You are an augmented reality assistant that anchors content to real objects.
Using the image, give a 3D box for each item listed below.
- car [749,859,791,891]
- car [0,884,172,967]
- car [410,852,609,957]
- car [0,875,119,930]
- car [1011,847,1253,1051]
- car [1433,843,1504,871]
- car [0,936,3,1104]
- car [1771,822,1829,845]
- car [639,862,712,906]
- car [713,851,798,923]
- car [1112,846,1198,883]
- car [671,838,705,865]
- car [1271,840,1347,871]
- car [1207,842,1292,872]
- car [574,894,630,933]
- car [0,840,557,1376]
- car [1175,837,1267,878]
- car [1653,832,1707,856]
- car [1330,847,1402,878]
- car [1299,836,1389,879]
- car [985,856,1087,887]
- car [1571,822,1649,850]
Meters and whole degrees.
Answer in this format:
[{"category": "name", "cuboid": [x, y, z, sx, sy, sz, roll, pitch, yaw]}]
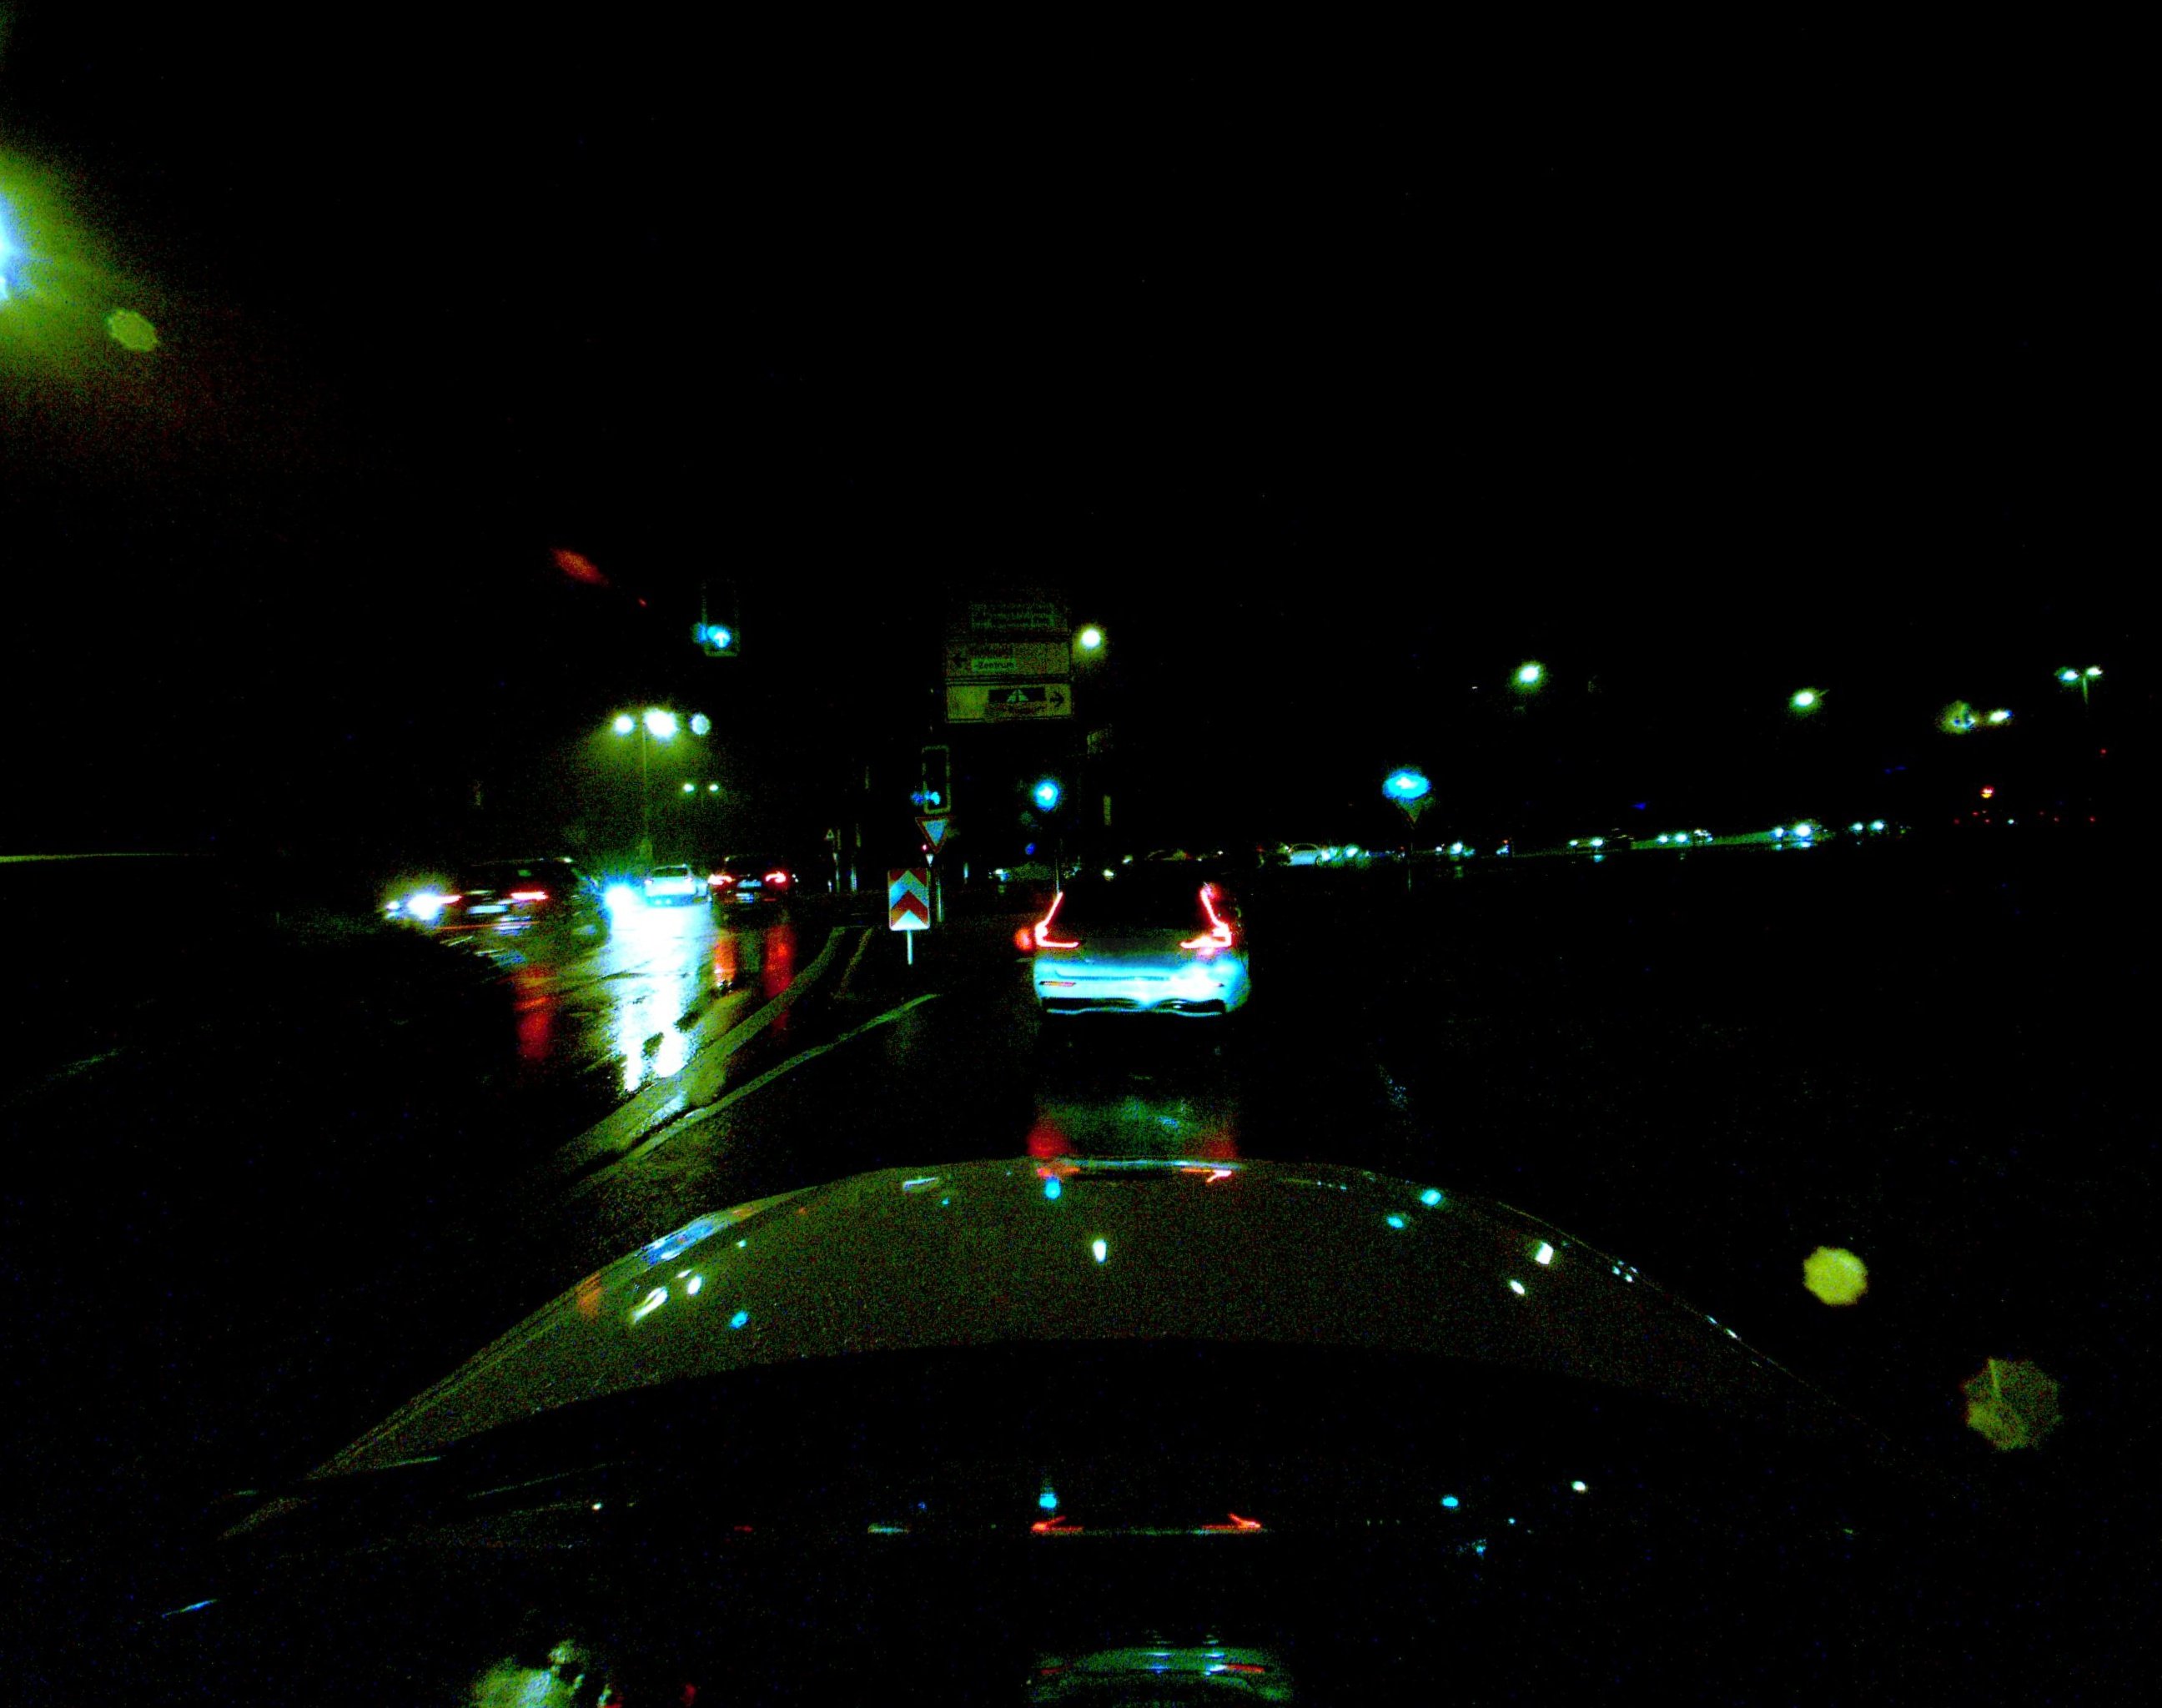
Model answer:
[{"category": "car", "cuboid": [-15.724, 1.046, 41.343, 1.704, 1.463, 4.288, -2, -1, -18]}, {"category": "car", "cuboid": [-21.634, 1.422, 16.447, 1.928, 1.463, 4.767, -1, 0, -13]}, {"category": "car", "cuboid": [-10.619, 0.865, 15.505, 1.914, 1.658, 3.963, -2, -1, -17]}, {"category": "car", "cuboid": [-36.130, 1.637, 27.593, 1.908, 1.717, 4.322, -1, 0, 32]}, {"category": "car", "cuboid": [0.787, 0.689, 8.182, 1.784, 1.452, 4.282, -1, 1, 11]}, {"category": "car", "cuboid": [23.516, 0.187, 49.434, 3.983, 1.666, 1.789, -1, -1, -25]}, {"category": "car", "cuboid": [-7.558, 0.912, 3.017, 1.735, 1.436, 4.278, -1, 0, -8]}, {"category": "car", "cuboid": [55.393, -1.567, 62.742, 4.314, 1.578, 1.803, -2, -1, -26]}, {"category": "car", "cuboid": [-15.022, 1.082, 30.351, 1.658, 1.445, 3.772, -2, -1, -15]}, {"category": "car", "cuboid": [-8.504, 0.759, 21.139, 1.836, 1.653, 4.444, 0, 0, -24]}, {"category": "car", "cuboid": [3.972, 0.546, 43.755, 4.292, 1.848, 1.751, -1, -1, -25]}, {"category": "car", "cuboid": [-31.292, -0.177, 64.919, 1.779, 2.079, 3.978, 0, -1, -16]}, {"category": "car", "cuboid": [13.595, 0.084, 48.562, 4.257, 1.799, 1.789, -1, -1, -25]}, {"category": "car", "cuboid": [8.751, 0.167, 42.249, 4.060, 1.487, 1.706, -1, -1, -21]}, {"category": "car", "cuboid": [-28.355, 3.487, 48.295, 1.816, 2.014, 3.980, -1, -1, -15]}, {"category": "car", "cuboid": [-4.300, 0.784, 3.547, 1.849, 1.591, 4.012, -1, -1, -8]}, {"category": "car", "cuboid": [6.526, 0.131, 37.963, 3.906, 1.725, 1.752, -2, 0, -23]}, {"category": "car", "cuboid": [48.412, -0.766, 65.769, 4.006, 1.849, 1.814, 0, -1, -25]}, {"category": "car", "cuboid": [17.634, 0.504, 50.334, 4.131, 1.848, 1.751, -1, -1, -25]}, {"category": "car", "cuboid": [17.452, 0.217, 54.080, 5.617, 2.710, 2.238, -1, -1, -24]}, {"category": "car", "cuboid": [-2.264, 0.852, 40.943, 4.810, 1.427, 1.751, -1, -1, -24]}, {"category": "car", "cuboid": [32.146, -1.103, 49.494, 4.417, 1.484, 1.768, -2, -2, -24]}]
